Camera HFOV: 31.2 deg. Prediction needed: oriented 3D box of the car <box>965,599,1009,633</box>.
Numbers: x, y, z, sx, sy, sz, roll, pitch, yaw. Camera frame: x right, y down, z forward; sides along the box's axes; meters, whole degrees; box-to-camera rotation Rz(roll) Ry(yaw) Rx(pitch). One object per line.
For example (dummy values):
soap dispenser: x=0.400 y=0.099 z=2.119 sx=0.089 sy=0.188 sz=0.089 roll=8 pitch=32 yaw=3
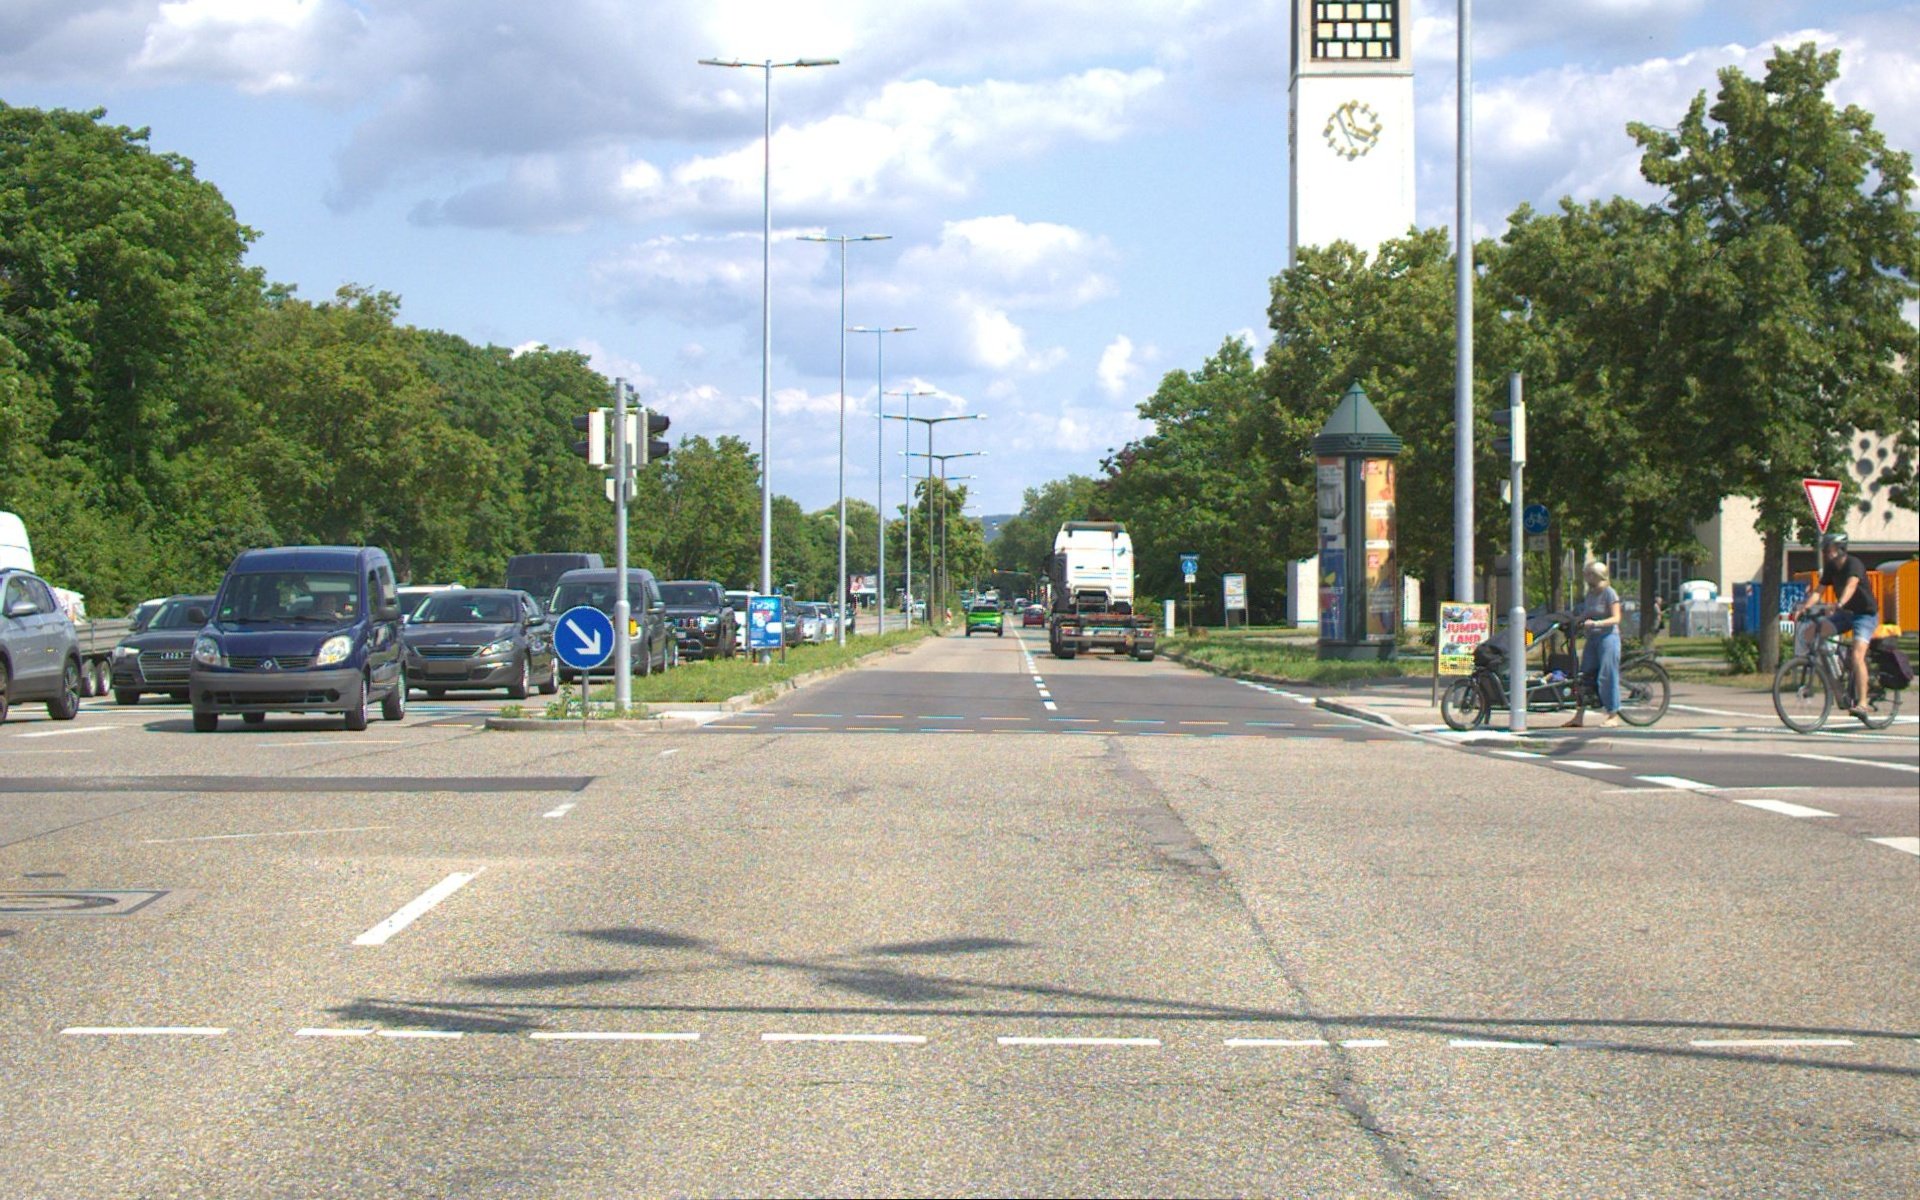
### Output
car: x=1.275 y=0.741 z=165.670 sx=1.993 sy=1.547 sz=4.000 roll=2 pitch=0 yaw=-1

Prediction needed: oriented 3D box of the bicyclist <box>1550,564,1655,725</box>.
bicyclist: x=6.508 y=0.440 z=34.846 sx=0.698 sy=1.610 sz=0.797 roll=0 pitch=0 yaw=-24

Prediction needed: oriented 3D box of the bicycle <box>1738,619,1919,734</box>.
bicycle: x=8.587 y=0.732 z=33.536 sx=1.997 sy=1.090 sz=0.686 roll=0 pitch=0 yaw=-29

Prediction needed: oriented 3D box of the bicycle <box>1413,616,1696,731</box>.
bicycle: x=5.995 y=0.727 z=34.629 sx=2.832 sy=1.108 sz=0.797 roll=0 pitch=1 yaw=-24

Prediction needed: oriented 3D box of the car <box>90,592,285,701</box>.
car: x=-9.966 y=0.582 z=44.590 sx=1.763 sy=1.347 sz=3.519 roll=0 pitch=0 yaw=-1

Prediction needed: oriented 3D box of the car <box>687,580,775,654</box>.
car: x=-5.452 y=0.396 z=82.223 sx=1.734 sy=1.654 sz=4.231 roll=2 pitch=0 yaw=0

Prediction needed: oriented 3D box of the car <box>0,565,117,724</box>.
car: x=-10.039 y=0.408 z=34.642 sx=1.735 sy=1.538 sz=4.308 roll=2 pitch=0 yaw=4

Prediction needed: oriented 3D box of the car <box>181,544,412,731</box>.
car: x=-6.417 y=0.341 z=33.633 sx=1.734 sy=1.654 sz=4.232 roll=2 pitch=0 yaw=-5

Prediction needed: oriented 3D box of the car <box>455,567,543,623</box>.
car: x=-10.557 y=-0.111 z=78.904 sx=1.548 sy=1.213 sz=3.490 roll=2 pitch=0 yaw=-1

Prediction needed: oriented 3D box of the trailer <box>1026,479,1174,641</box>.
trailer: x=3.847 y=-0.942 z=91.325 sx=3.621 sy=3.998 sz=11.317 roll=1 pitch=-1 yaw=4

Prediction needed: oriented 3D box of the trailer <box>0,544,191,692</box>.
trailer: x=-13.032 y=0.242 z=50.192 sx=2.124 sy=2.007 sz=5.161 roll=2 pitch=0 yaw=3

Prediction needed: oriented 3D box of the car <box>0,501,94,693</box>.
car: x=-13.296 y=-0.072 z=44.675 sx=2.174 sy=2.463 sz=5.966 roll=2 pitch=0 yaw=4

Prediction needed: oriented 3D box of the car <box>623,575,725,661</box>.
car: x=-5.840 y=0.366 z=70.536 sx=1.734 sy=1.654 sz=4.231 roll=2 pitch=0 yaw=-1

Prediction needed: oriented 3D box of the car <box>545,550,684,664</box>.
car: x=-5.420 y=0.074 z=54.421 sx=1.734 sy=1.654 sz=4.231 roll=2 pitch=1 yaw=0

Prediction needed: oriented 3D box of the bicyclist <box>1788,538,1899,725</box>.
bicyclist: x=8.619 y=0.298 z=33.548 sx=0.786 sy=1.798 sz=0.686 roll=0 pitch=0 yaw=-29

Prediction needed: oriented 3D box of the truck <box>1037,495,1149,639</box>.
truck: x=3.910 y=-0.872 z=99.307 sx=2.960 sy=3.957 sz=8.636 roll=1 pitch=-1 yaw=4

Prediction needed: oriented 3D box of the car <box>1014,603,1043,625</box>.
car: x=5.094 y=1.006 z=256.319 sx=1.993 sy=1.547 sz=4.000 roll=2 pitch=0 yaw=-1

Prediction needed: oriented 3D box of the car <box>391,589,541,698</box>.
car: x=-6.400 y=0.548 z=44.786 sx=1.568 sy=1.311 sz=3.432 roll=2 pitch=0 yaw=-3

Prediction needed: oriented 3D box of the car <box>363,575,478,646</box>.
car: x=-9.899 y=0.188 z=63.257 sx=1.548 sy=1.213 sz=3.490 roll=2 pitch=0 yaw=-1
